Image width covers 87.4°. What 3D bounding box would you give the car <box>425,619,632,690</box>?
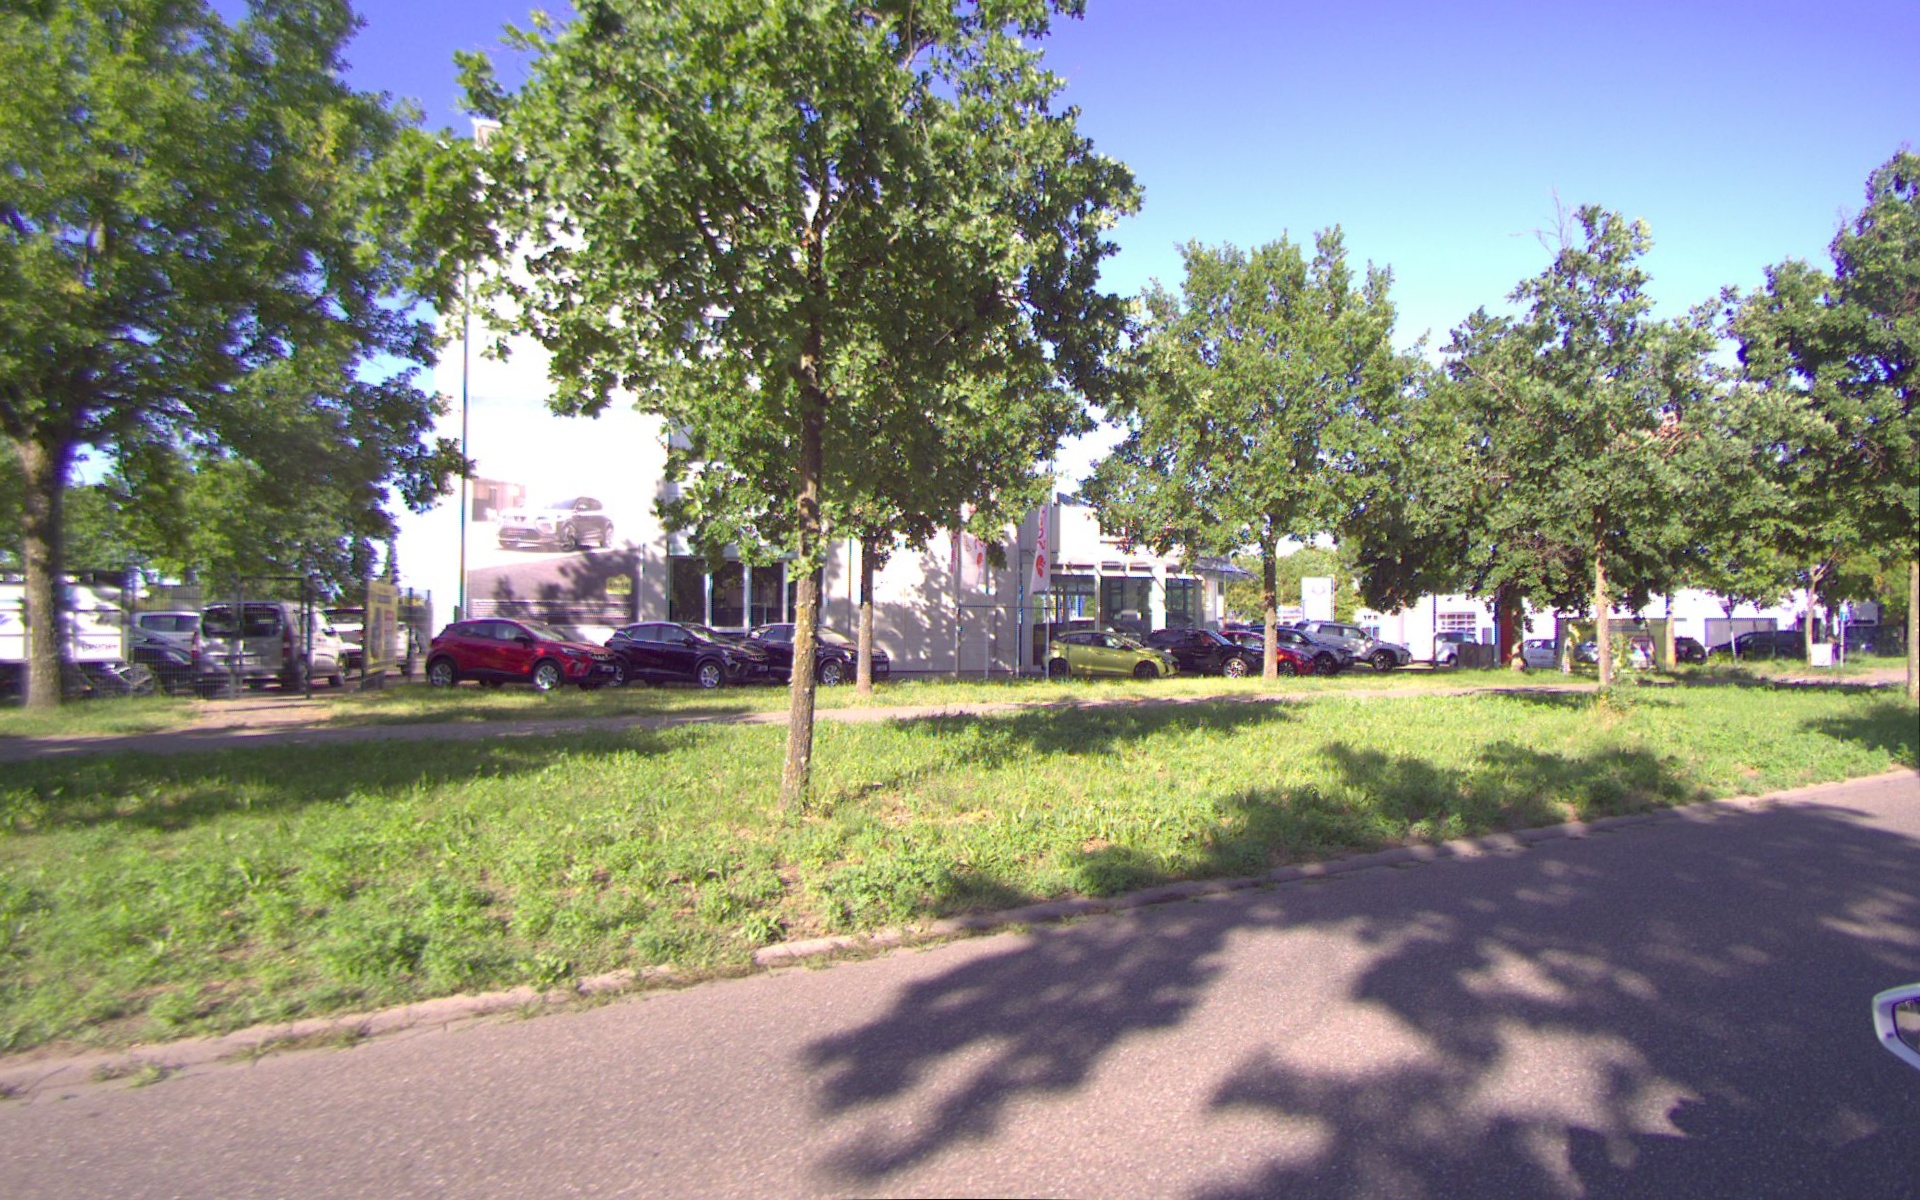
[{"bbox_3d":[-9.569,1.177,22.390,3.919,1.467,1.802,0,-2,13],"label":"car"}]

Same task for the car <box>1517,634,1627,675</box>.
[{"bbox_3d":[26.107,2.282,42.982,1.931,1.639,3.742,1,-2,-16],"label":"car"}]

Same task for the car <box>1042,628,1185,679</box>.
[{"bbox_3d":[4.559,1.546,29.612,3.875,1.420,2.000,0,-2,19],"label":"car"}]

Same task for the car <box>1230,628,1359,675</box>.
[{"bbox_3d":[11.907,1.797,35.808,4.095,1.583,1.997,-1,-2,29],"label":"car"}]

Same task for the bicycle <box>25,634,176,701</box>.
[{"bbox_3d":[-14.751,1.144,17.305,1.869,1.102,0.636,1,-2,-30],"label":"bicycle"}]

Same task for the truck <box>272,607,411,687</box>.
[{"bbox_3d":[-15.785,1.127,25.930,1.994,1.807,4.671,1,0,-18],"label":"truck"}]

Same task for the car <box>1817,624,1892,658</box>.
[{"bbox_3d":[55.629,2.515,62.448,5.744,2.015,2.024,1,-2,-33],"label":"car"}]

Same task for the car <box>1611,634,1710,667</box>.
[{"bbox_3d":[33.962,2.419,48.798,1.792,1.553,3.670,1,-2,-15],"label":"car"}]

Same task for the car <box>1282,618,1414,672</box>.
[{"bbox_3d":[15.268,1.738,39.766,4.762,2.040,2.000,0,-2,19],"label":"car"}]

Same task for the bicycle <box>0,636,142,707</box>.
[{"bbox_3d":[-14.536,1.141,16.282,1.869,1.102,0.636,1,-2,-30],"label":"bicycle"}]

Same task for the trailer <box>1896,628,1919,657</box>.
[{"bbox_3d":[66.870,2.940,69.579,3.698,1.940,2.091,1,-2,-32],"label":"trailer"}]

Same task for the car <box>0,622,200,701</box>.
[{"bbox_3d":[-17.705,1.183,19.844,3.946,1.467,1.790,1,-2,-26],"label":"car"}]

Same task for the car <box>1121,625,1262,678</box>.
[{"bbox_3d":[7.202,1.569,31.208,4.087,1.558,1.897,0,-2,19],"label":"car"}]

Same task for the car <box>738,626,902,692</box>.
[{"bbox_3d":[-3.611,1.445,25.691,3.930,1.531,1.797,-1,-1,32],"label":"car"}]

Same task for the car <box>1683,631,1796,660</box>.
[{"bbox_3d":[41.723,2.420,53.831,1.923,1.499,4.468,2,-2,-37],"label":"car"}]

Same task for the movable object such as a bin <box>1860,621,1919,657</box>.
[{"bbox_3d":[61.015,2.515,65.634,4.410,2.246,2.091,1,-2,-32],"label":"movable object such as a bin"}]

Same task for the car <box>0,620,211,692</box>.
[{"bbox_3d":[-19.037,1.188,21.957,3.948,1.467,1.789,1,-2,-27],"label":"car"}]

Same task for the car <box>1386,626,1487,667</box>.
[{"bbox_3d":[23.727,2.276,50.257,1.908,1.931,5.014,1,-2,-13],"label":"car"}]

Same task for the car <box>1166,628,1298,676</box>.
[{"bbox_3d":[9.127,1.714,33.711,4.089,1.510,2.000,0,-2,22],"label":"car"}]

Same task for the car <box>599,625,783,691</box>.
[{"bbox_3d":[-6.444,1.360,24.172,3.920,1.467,1.802,0,-2,18],"label":"car"}]

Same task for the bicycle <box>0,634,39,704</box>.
[{"bbox_3d":[-15.886,1.091,15.855,1.869,1.102,0.636,1,-2,-30],"label":"bicycle"}]

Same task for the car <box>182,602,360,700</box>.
[{"bbox_3d":[-14.270,0.980,21.088,1.994,1.807,4.014,1,0,-18],"label":"car"}]

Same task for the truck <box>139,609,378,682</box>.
[{"bbox_3d":[-19.110,1.238,27.713,5.116,1.866,2.019,1,-2,-27],"label":"truck"}]
